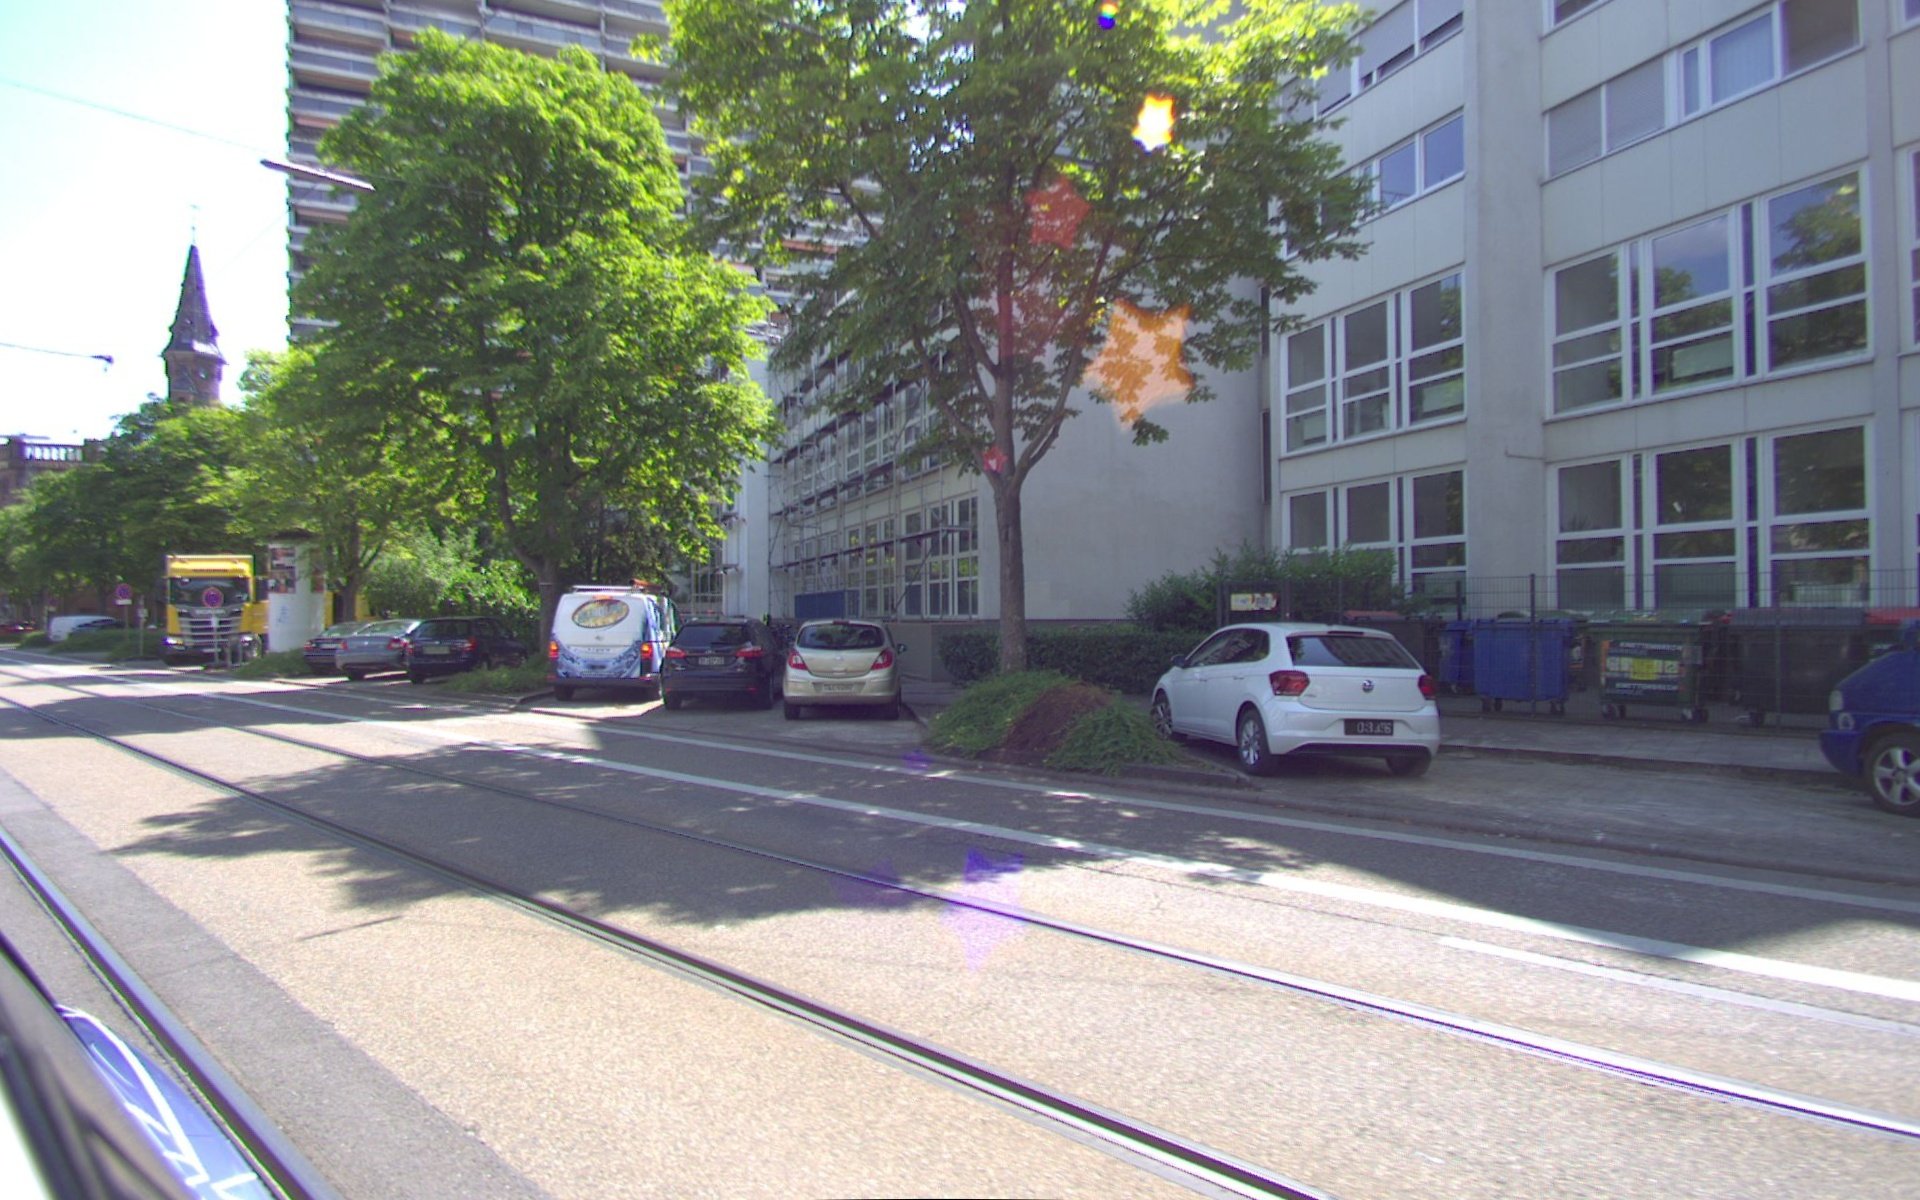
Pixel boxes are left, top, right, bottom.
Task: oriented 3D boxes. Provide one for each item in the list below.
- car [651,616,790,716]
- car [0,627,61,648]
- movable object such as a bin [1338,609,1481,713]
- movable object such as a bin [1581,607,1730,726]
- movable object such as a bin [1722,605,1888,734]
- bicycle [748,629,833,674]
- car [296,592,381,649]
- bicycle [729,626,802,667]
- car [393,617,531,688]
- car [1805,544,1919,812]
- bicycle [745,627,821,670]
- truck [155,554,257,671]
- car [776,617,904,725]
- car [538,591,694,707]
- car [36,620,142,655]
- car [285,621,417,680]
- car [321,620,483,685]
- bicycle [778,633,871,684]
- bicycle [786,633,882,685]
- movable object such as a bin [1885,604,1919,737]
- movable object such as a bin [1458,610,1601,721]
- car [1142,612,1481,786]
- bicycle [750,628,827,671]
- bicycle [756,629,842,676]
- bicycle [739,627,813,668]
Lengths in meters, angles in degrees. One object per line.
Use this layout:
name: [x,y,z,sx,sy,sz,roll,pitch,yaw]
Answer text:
car: [-3.975,1.082,17.337,1.790,1.518,3.713,1,-2,-5]
car: [-74.830,2.992,80.498,1.981,1.578,4.762,-1,-1,12]
movable object such as a bin: [6.681,0.864,15.012,1.489,1.420,1.744,-2,-2,41]
movable object such as a bin: [9.147,0.829,13.292,1.423,1.420,1.744,-2,-2,41]
movable object such as a bin: [10.194,0.793,12.246,1.423,1.420,1.744,-2,-2,41]
bicycle: [-4.475,1.346,26.781,2.099,1.083,0.559,-2,0,-24]
car: [-30.198,0.907,49.439,2.147,2.585,6.746,-1,0,-19]
bicycle: [-5.716,1.362,29.777,1.983,1.083,0.559,-2,0,-24]
car: [-11.661,1.210,23.963,1.666,1.556,3.713,0,-2,-5]
car: [8.121,0.523,6.056,1.819,1.970,4.736,0,-2,-5]
bicycle: [-4.959,1.346,28.351,1.983,1.083,0.559,-2,0,-24]
truck: [-28.629,0.427,38.739,2.679,3.870,10.991,-2,0,-35]
car: [-1.808,1.046,15.792,1.736,1.478,3.713,1,-2,-5]
car: [-6.459,0.916,19.575,1.892,1.949,4.763,1,-2,-7]
car: [-50.518,2.162,58.793,1.879,1.804,4.537,-2,0,8]
car: [-16.738,1.363,28.019,1.735,1.518,3.714,0,-2,-6]
car: [-14.107,1.292,25.875,1.848,1.518,4.203,0,-2,0]
bicycle: [-3.220,1.369,24.167,2.099,1.083,0.559,-2,0,-24]
bicycle: [-2.927,1.358,23.552,2.099,1.083,0.559,-2,0,-24]
movable object such as a bin: [11.221,0.758,11.154,1.423,1.420,1.744,-2,-2,41]
movable object such as a bin: [7.967,0.867,14.143,1.423,1.420,1.744,-2,-2,41]
car: [3.377,0.938,10.614,1.735,1.444,4.006,2,-3,-7]
bicycle: [-4.698,1.341,27.786,1.983,1.083,0.559,-2,0,-24]
bicycle: [-4.153,1.330,26.138,2.099,1.083,0.559,-2,0,-24]
bicycle: [-5.254,1.349,28.971,1.983,1.083,0.559,-2,0,-24]
